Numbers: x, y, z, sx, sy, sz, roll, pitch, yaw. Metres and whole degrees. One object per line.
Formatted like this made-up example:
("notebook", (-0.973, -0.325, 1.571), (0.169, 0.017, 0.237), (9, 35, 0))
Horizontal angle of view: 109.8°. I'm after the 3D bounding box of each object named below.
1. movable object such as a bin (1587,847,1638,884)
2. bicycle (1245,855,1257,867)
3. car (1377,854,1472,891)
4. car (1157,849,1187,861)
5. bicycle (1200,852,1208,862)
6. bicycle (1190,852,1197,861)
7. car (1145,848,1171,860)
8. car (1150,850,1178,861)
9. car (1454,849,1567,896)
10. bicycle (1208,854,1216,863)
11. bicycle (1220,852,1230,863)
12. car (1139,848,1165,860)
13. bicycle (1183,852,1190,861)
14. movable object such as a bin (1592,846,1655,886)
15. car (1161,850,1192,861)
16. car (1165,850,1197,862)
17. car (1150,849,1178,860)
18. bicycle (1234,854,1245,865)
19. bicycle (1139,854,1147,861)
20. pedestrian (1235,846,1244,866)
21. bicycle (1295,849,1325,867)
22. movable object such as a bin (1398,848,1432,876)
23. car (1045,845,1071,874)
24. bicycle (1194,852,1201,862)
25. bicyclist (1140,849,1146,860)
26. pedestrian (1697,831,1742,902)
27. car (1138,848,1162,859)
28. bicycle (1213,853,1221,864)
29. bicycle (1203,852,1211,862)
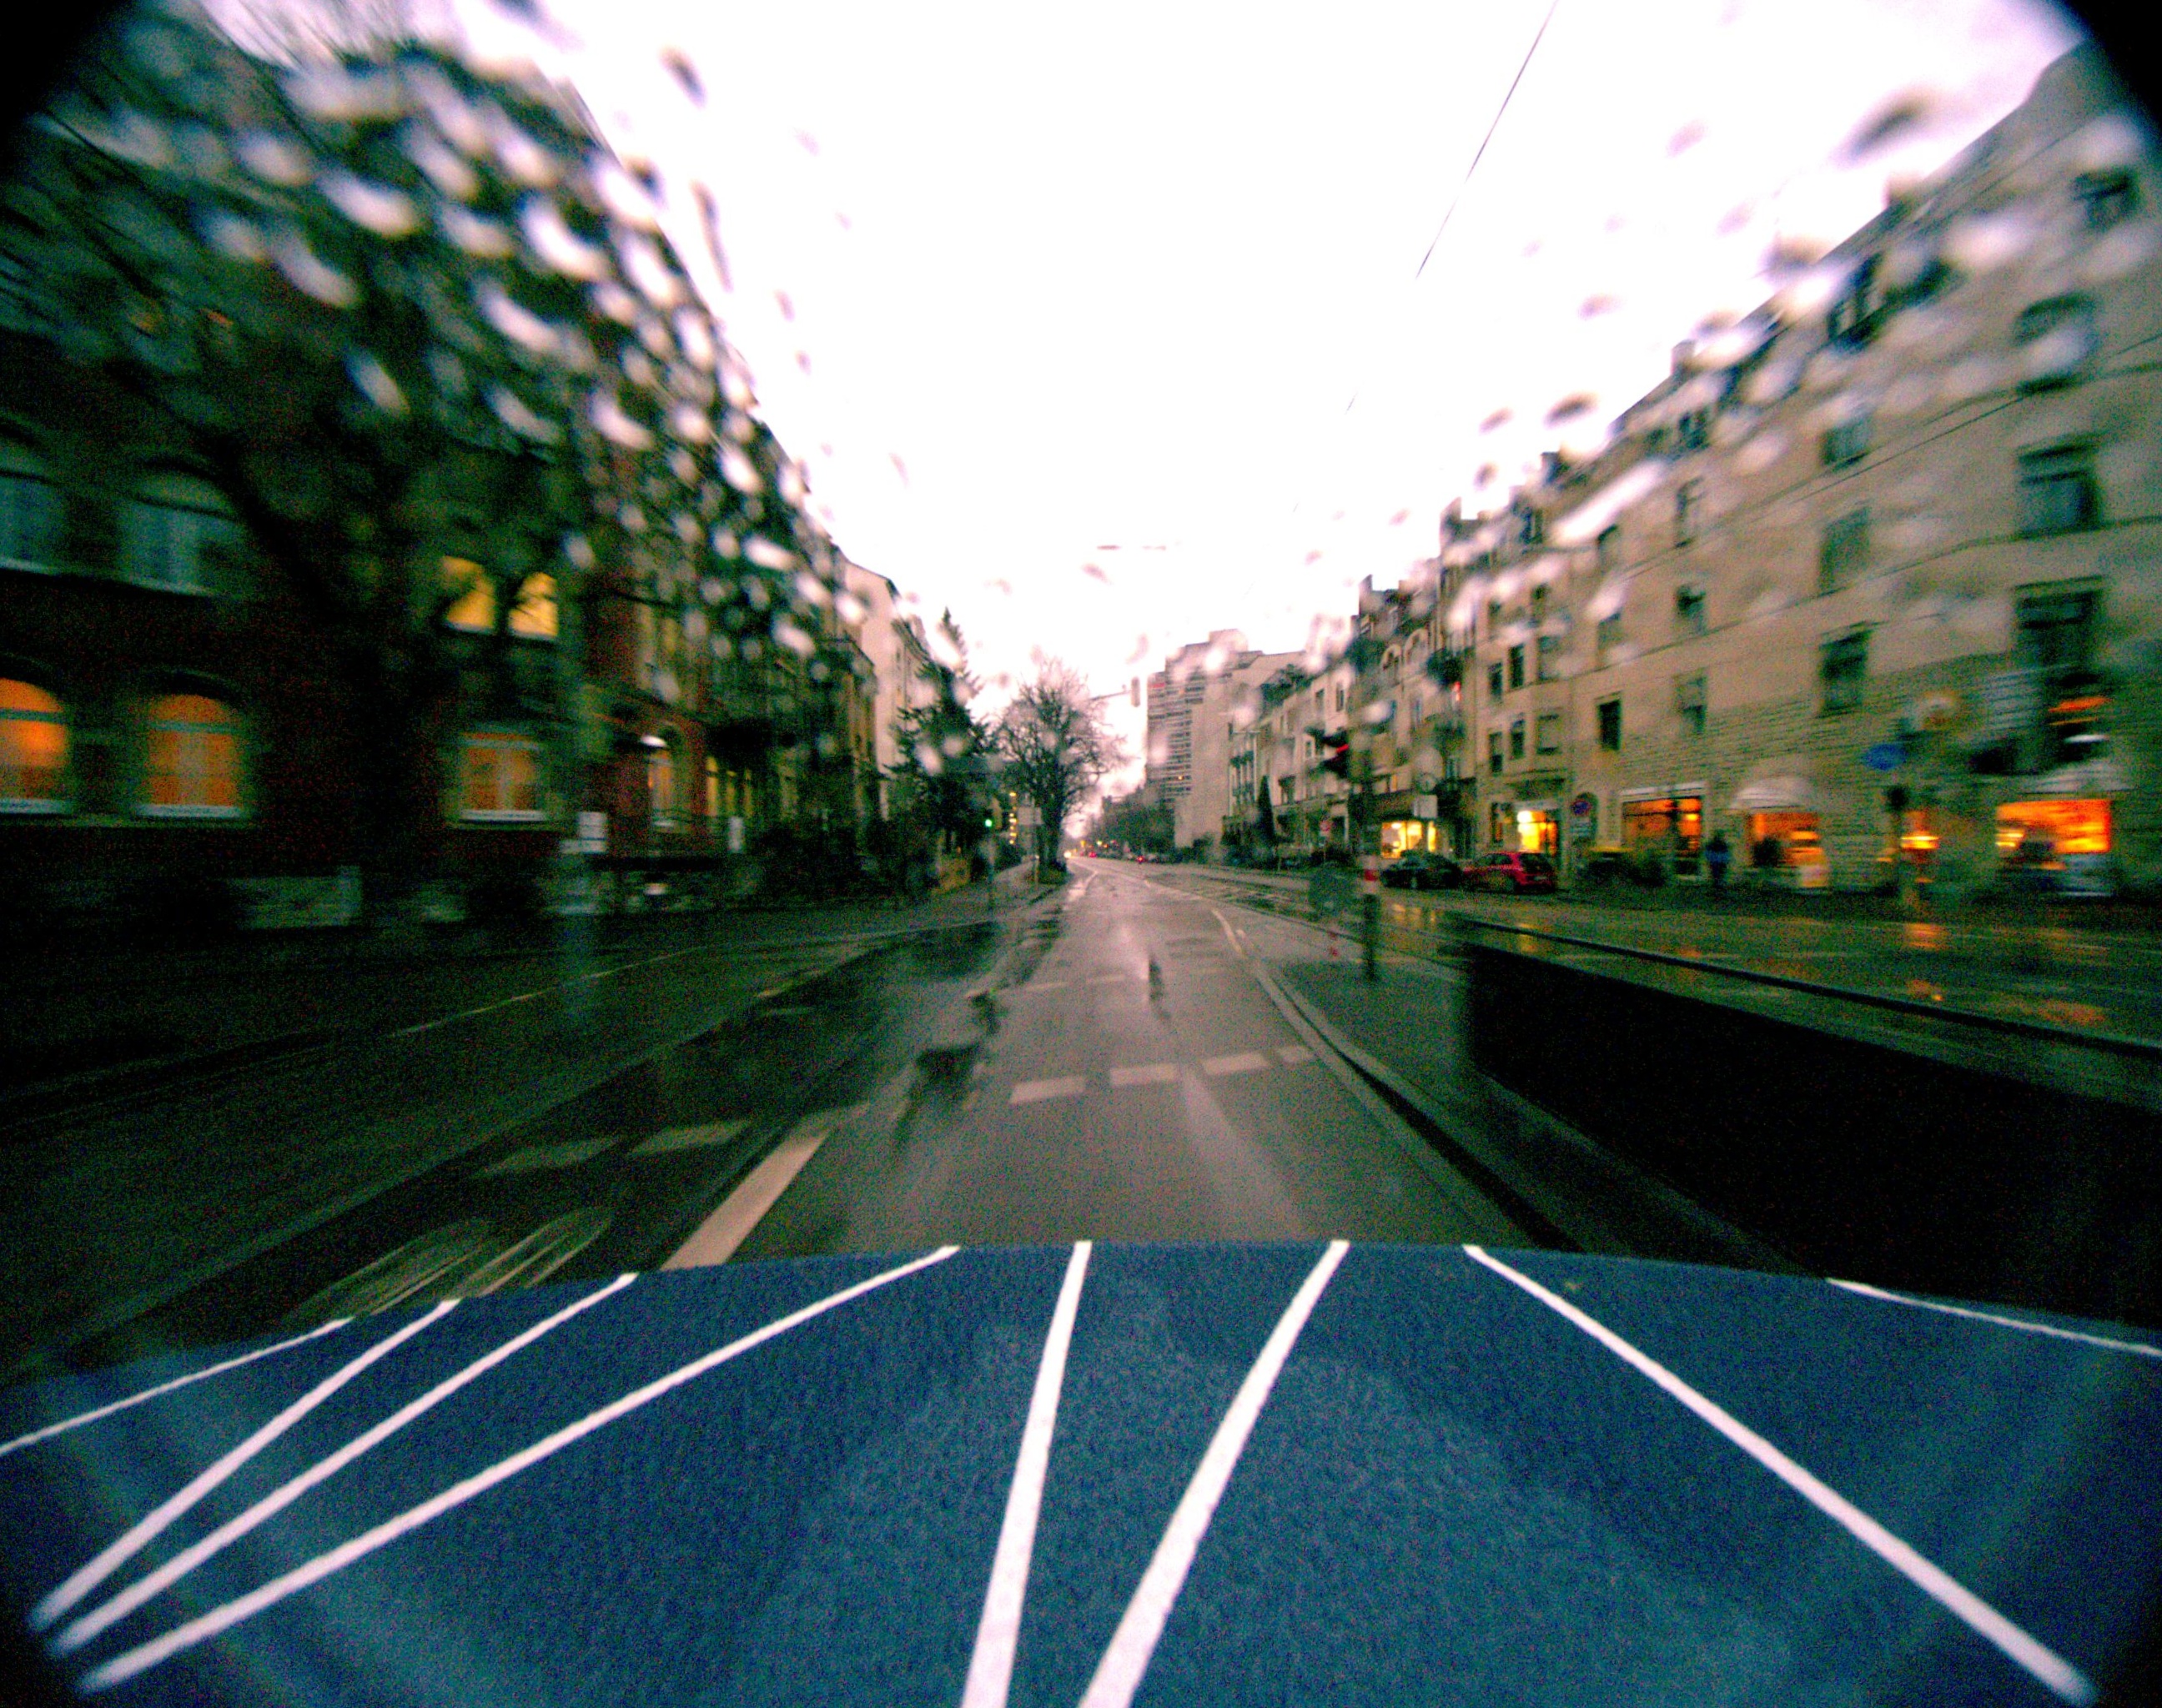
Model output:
("movable object such as a bin", (20.508, 0.429, 29.350), (1.004, 1.364, 1.274), (-3, 1, -3))
("bicycle", (13.768, 0.546, 61.609), (0.531, 0.934, 2.086), (-3, 1, 2))
("car", (15.017, 0.746, 33.521), (1.807, 1.382, 4.506), (-4, 1, -5))
("car", (12.376, 0.132, 103.479), (3.840, 1.405, 1.727), (-3, 1, -1))
("bicycle", (13.047, 0.332, 80.803), (0.435, 1.001, 1.881), (-3, 1, 0))
("bicycle", (12.849, 0.296, 86.472), (0.435, 1.001, 1.881), (-3, 1, 0))
("car", (12.179, 0.001, 120.192), (3.840, 1.707, 1.727), (-3, 0, -1))
("car", (11.922, 0.173, 109.289), (3.840, 1.405, 1.727), (-3, 0, -1))
("car", (15.769, 0.633, 28.122), (1.677, 1.507, 3.676), (-4, 1, -8))
("bicycle", (13.246, 0.426, 76.985), (0.442, 0.827, 1.767), (-3, 1, 0))
("bicycle", (13.550, 0.346, 71.394), (0.485, 1.001, 2.209), (-3, 1, 0))
("car", (11.455, -0.022, 122.991), (3.840, 1.707, 1.727), (-3, 1, -1))
("bicycle", (12.692, 0.322, 91.413), (0.469, 1.001, 1.881), (-3, 1, 0))
("movable object such as a bin", (19.954, 0.439, 27.966), (1.353, 1.364, 1.281), (-3, 1, -3))
("car", (12.661, 0.204, 100.680), (3.840, 1.405, 1.727), (0, 0, -1))
("car", (12.934, 0.231, 98.014), (3.840, 1.405, 1.727), (-1, 1, -1))
("car", (12.376, 0.130, 113.793), (3.840, 1.405, 1.727), (-3, 1, -1))
("bicycle", (13.792, 0.455, 66.169), (0.531, 0.885, 2.209), (-3, 1, 2))
("bicycle", (8.012, 0.438, 98.525), (0.649, 0.884, 1.712), (1, 1, -9))
("pedestrian", (13.145, 0.173, 63.057), (0.574, 1.633, 0.449), (-4, 1, -5))
("bicycle", (16.757, 0.301, 55.690), (1.990, 1.152, 0.531), (-3, 1, -3))
("movable object such as a bin", (17.599, 0.409, 40.024), (1.240, 1.423, 1.073), (-3, 1, -3))
("car", (-1.736, 0.387, 56.145), (1.726, 1.934, 4.507), (-3, 1, -3))
("bicycle", (12.969, 0.332, 84.467), (0.435, 1.001, 1.881), (-3, 1, 0))
("bicyclist", (8.019, 0.048, 98.577), (0.658, 1.492, 0.658), (1, 1, -10))
("pedestrian", (17.394, 0.333, 20.710), (0.796, 1.867, 0.896), (-3, 1, 34))
("car", (11.504, -0.085, 126.948), (3.840, 1.707, 1.727), (-3, 1, -1))
("bicycle", (13.473, 0.432, 75.177), (0.435, 1.001, 1.712), (-3, 1, 0))
("bicycle", (13.086, 0.348, 78.983), (0.435, 1.001, 1.605), (-3, 1, 0))
